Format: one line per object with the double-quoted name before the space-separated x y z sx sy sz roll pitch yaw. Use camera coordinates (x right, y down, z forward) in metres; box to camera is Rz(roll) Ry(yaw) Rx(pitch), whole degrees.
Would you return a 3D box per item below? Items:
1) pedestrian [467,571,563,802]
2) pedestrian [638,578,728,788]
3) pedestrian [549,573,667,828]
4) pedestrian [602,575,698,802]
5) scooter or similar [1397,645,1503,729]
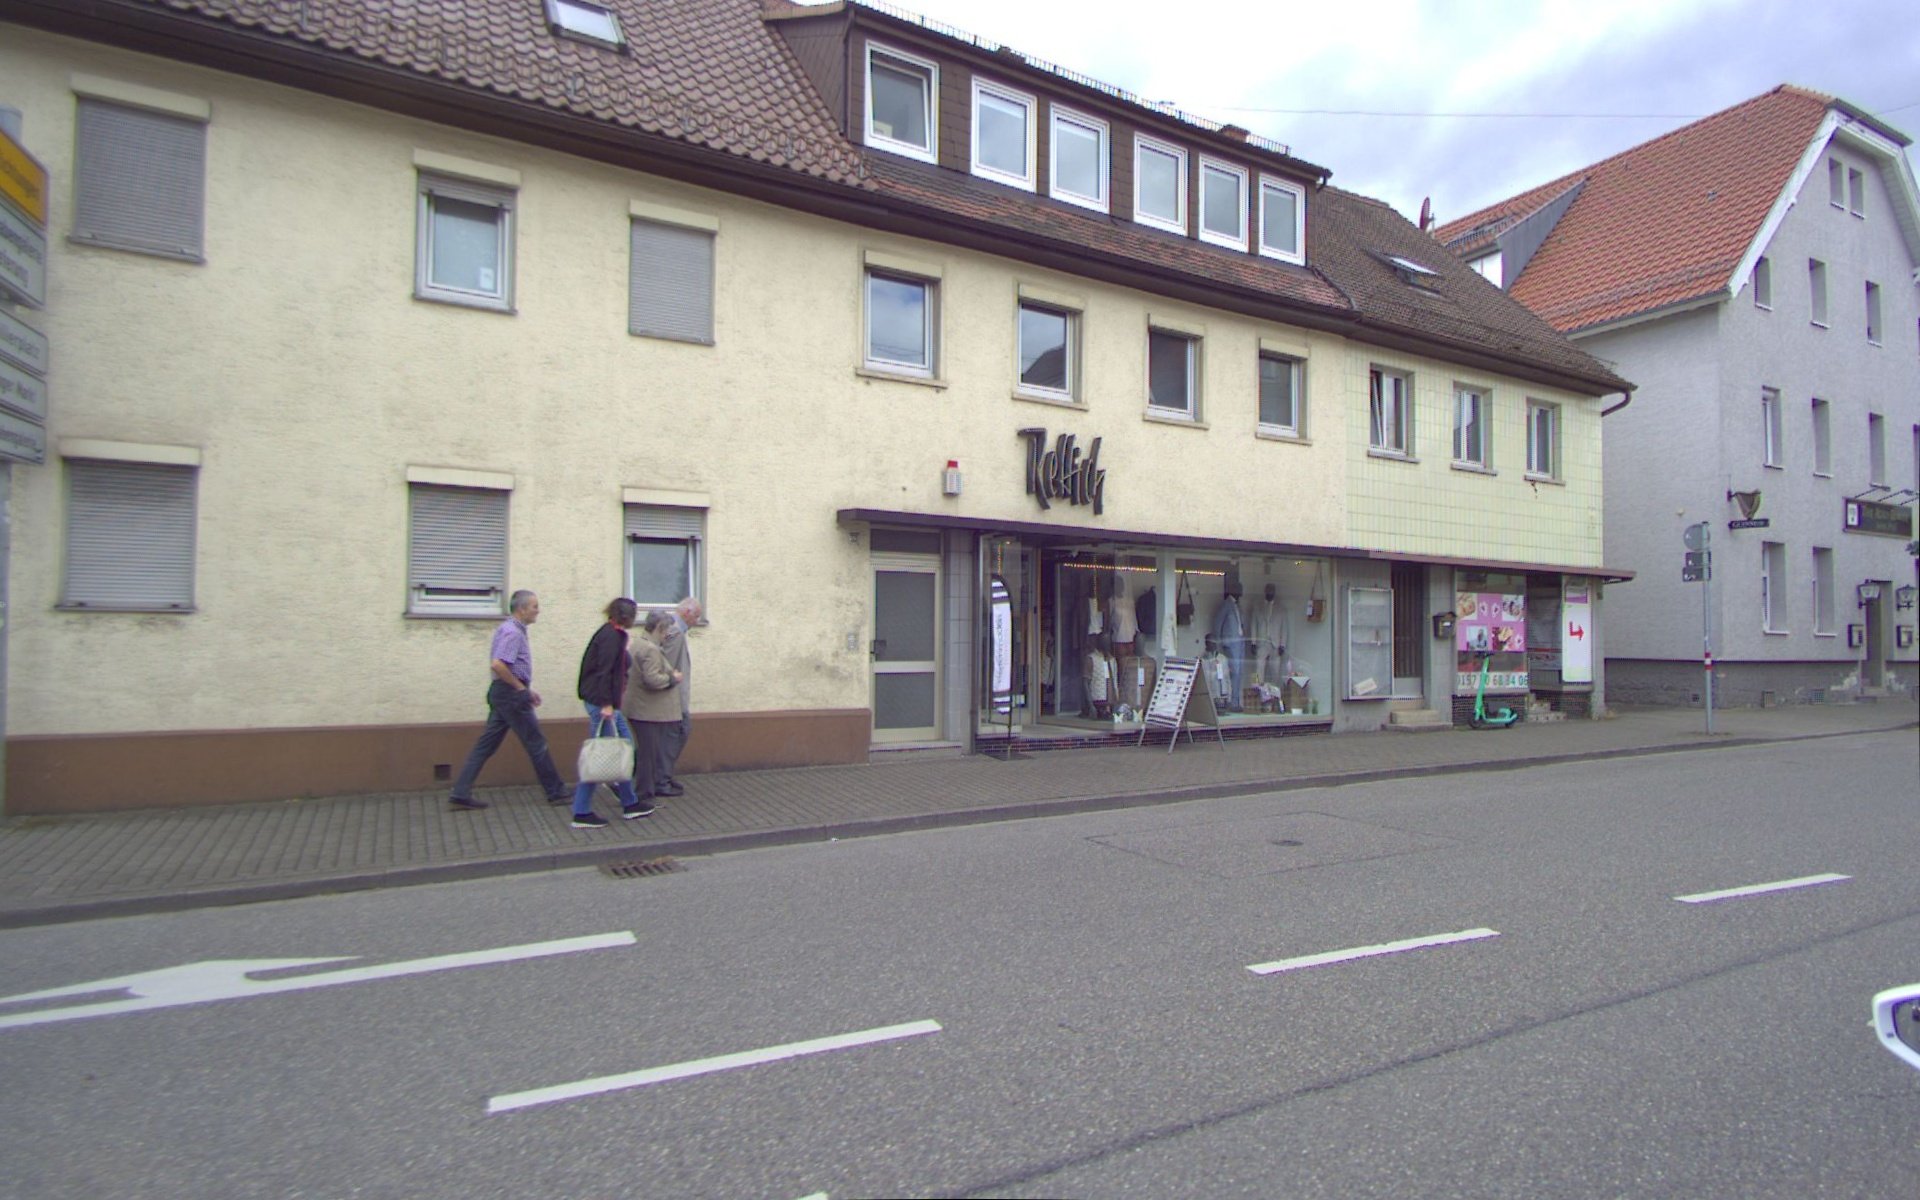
"pedestrian" -3.588 0.673 8.088 0.640 1.760 0.551 1 -1 -28
"pedestrian" -2.444 0.710 8.847 0.640 1.760 0.551 1 -1 -28
"pedestrian" -2.610 0.710 7.434 0.708 1.760 0.675 1 -2 -28
"pedestrian" -2.528 0.700 8.183 0.640 1.760 0.494 1 -1 -28
"scooter or similar" 7.379 1.287 15.107 1.700 1.185 0.526 2 0 -29
